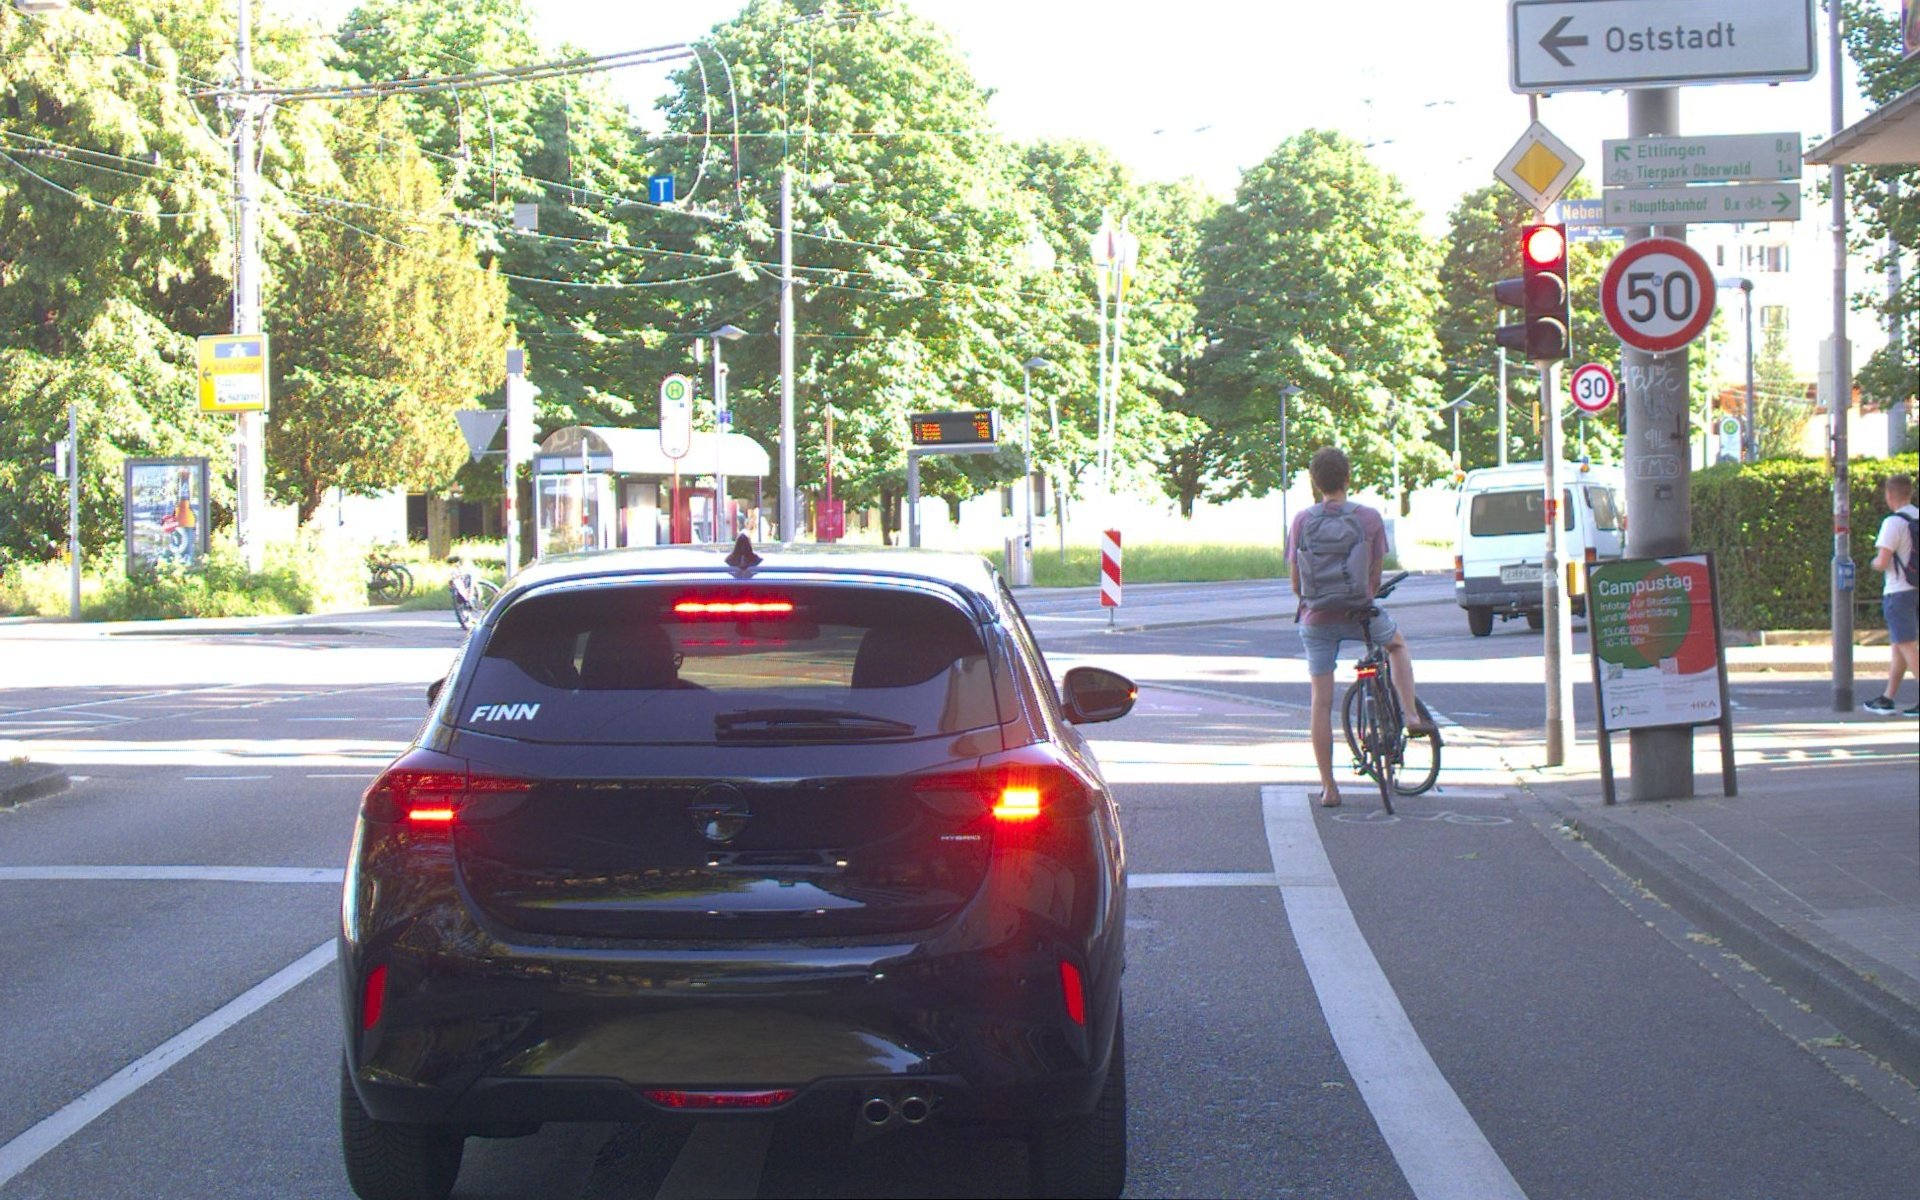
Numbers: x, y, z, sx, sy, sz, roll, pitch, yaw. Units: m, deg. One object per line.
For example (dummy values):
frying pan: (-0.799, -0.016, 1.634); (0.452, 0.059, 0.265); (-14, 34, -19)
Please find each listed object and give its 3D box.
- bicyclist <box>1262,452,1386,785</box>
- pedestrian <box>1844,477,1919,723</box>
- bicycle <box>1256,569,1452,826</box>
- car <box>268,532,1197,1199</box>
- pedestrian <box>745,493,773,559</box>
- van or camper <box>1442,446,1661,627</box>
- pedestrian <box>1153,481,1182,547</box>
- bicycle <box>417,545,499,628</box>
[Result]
bicyclist: (1.887, 0.087, 17.779); (0.534, 1.686, 0.567); (0, 1, 17)
pedestrian: (6.815, -0.002, 24.969); (0.633, 1.757, 0.582); (1, 0, 4)
bicycle: (2.082, 0.471, 17.951); (0.753, 1.231, 2.014); (0, 1, 14)
car: (-0.474, 0.566, 8.814); (1.840, 1.457, 3.984); (0, 1, -1)
pedestrian: (-5.707, -2.108, 97.664); (0.737, 1.865, 0.662); (1, 0, -6)
van or camper: (8.015, -0.838, 46.239); (2.031, 2.302, 4.535); (1, 1, 21)
pedestrian: (5.908, -2.443, 97.850); (0.519, 1.865, 0.604); (1, 1, 42)
bicycle: (-6.766, -0.193, 46.397); (0.796, 1.061, 2.185); (0, 1, -1)
